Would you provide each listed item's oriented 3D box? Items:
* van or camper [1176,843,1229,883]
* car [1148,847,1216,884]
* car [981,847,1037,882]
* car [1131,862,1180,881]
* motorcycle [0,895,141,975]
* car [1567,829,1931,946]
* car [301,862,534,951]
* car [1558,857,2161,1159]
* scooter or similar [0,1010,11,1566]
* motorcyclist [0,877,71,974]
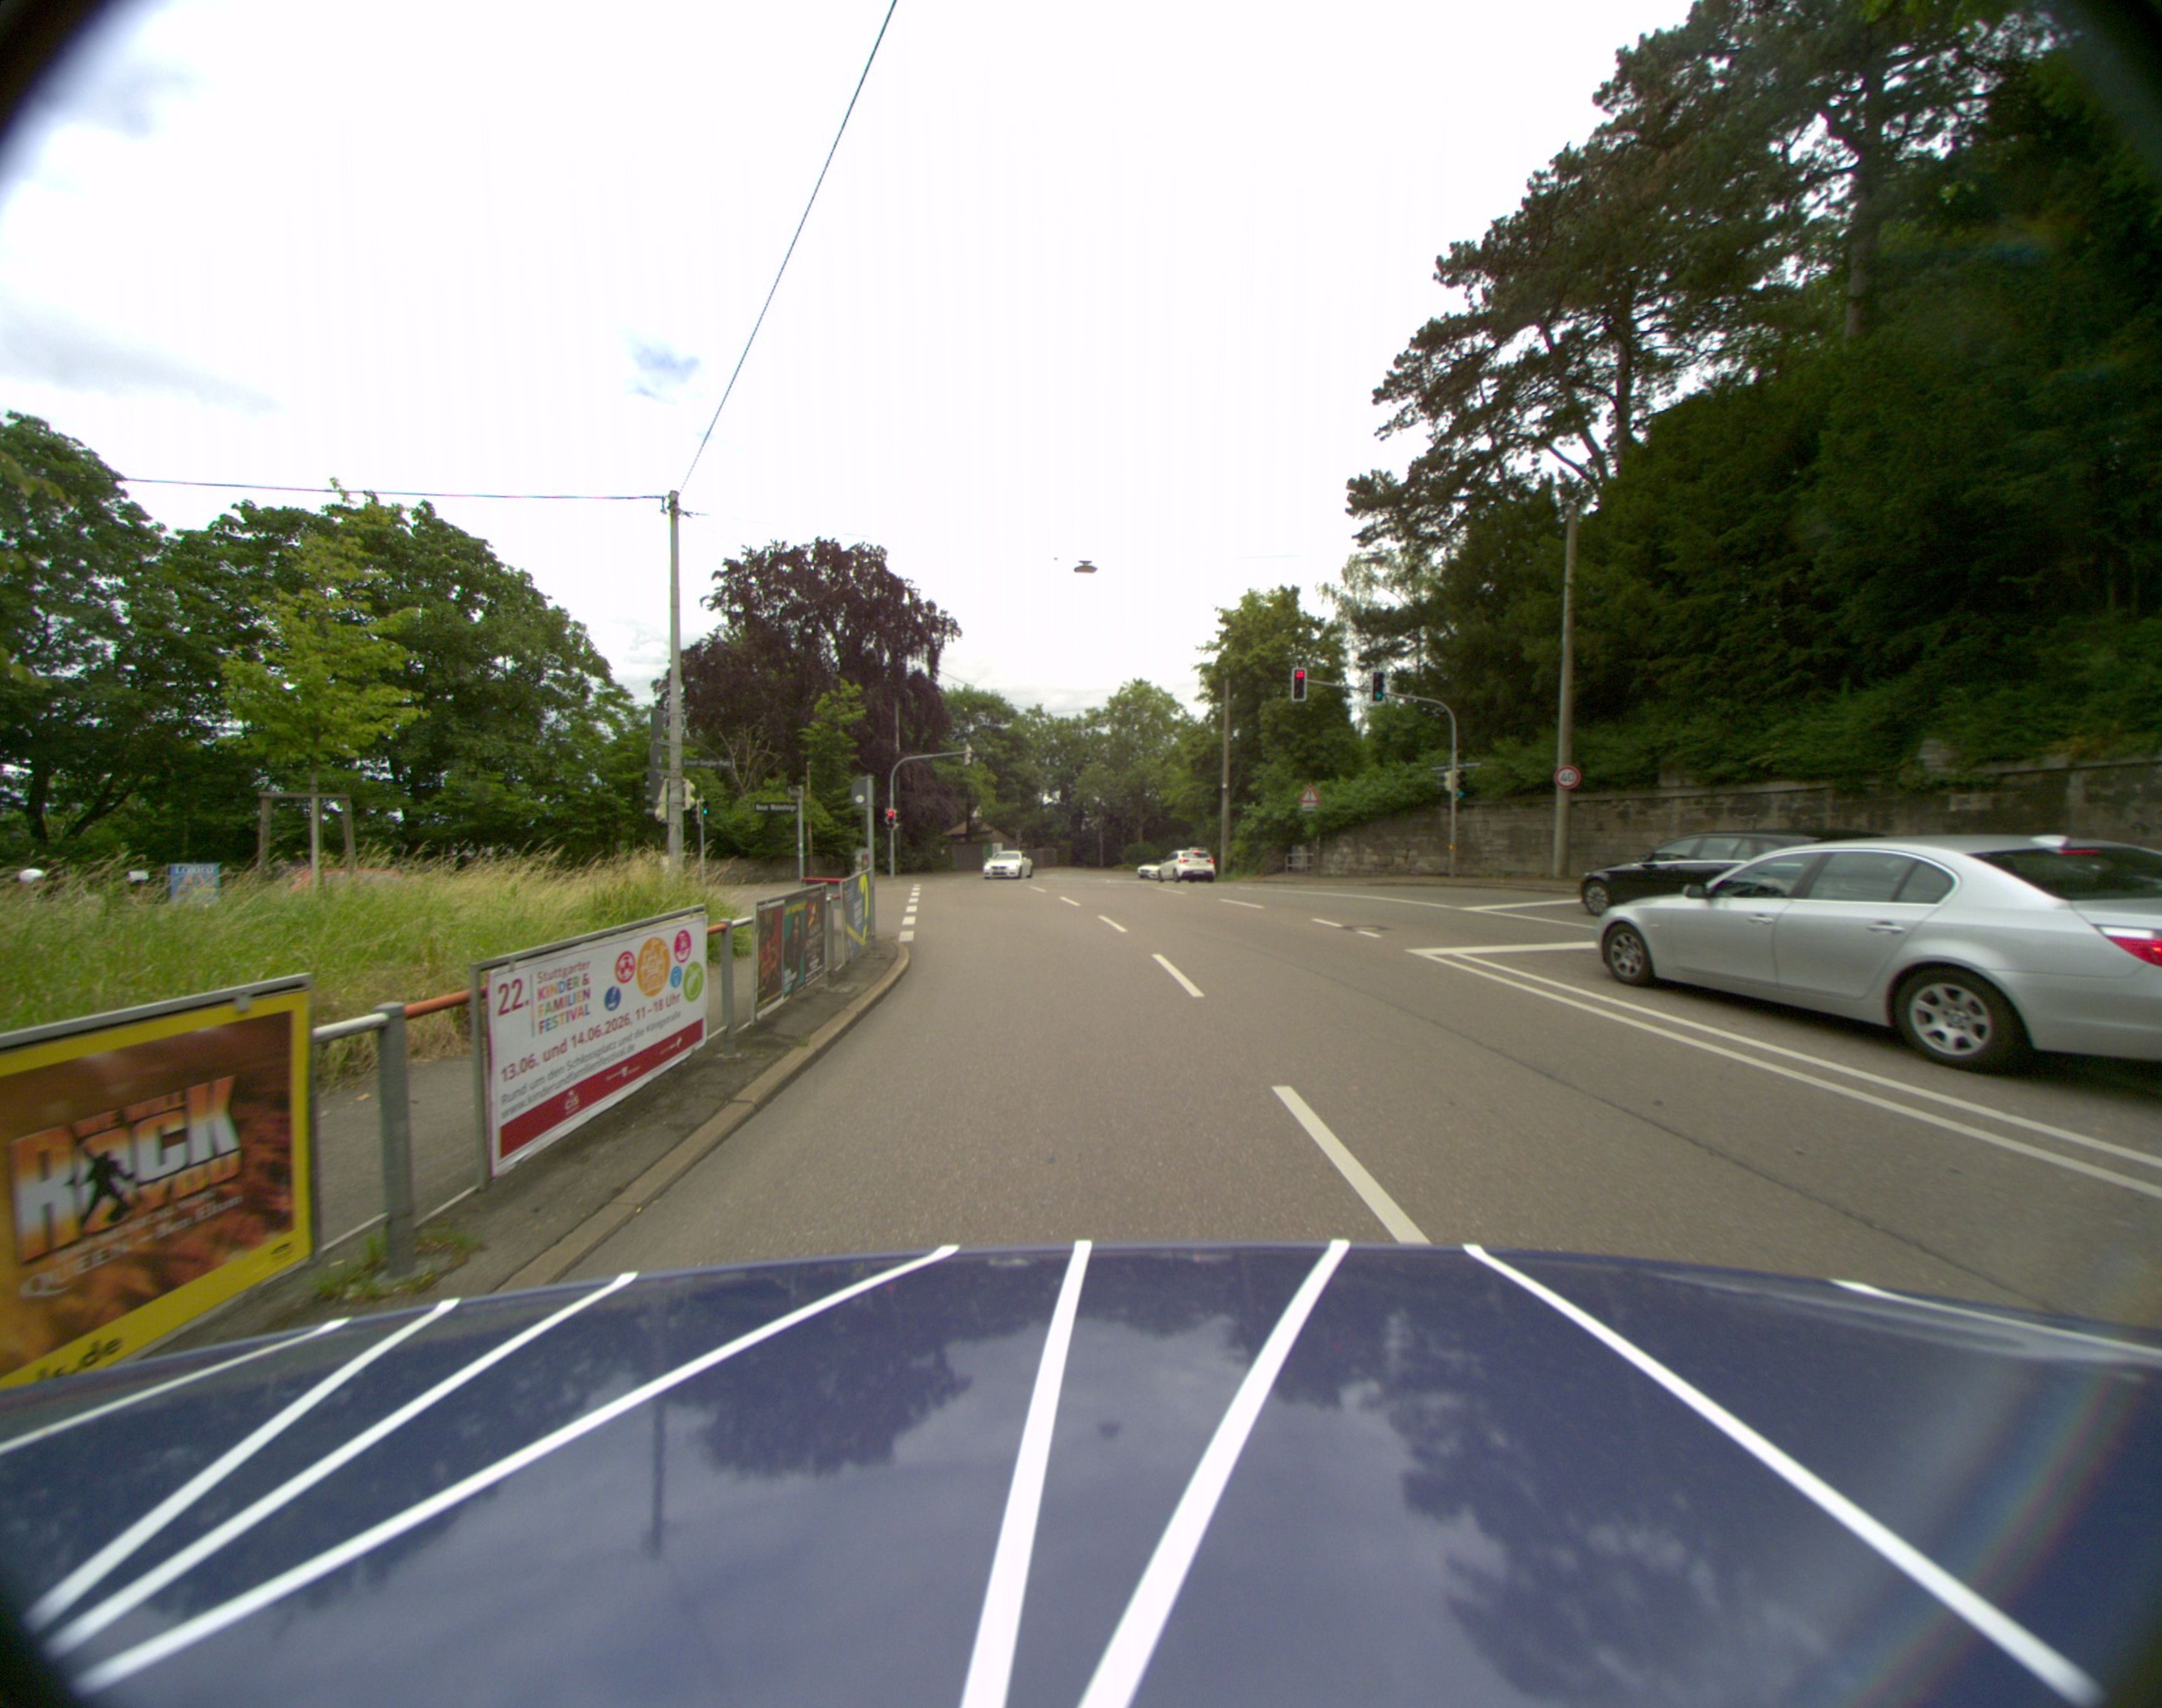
[{"bbox_3d":[8.606,0.681,53.450,2.204,2.530,5.371,0,-3,26],"label":"van or camper"},{"bbox_3d":[4.557,0.493,34.873,1.641,1.547,4.109,-3,1,-13],"label":"car"},{"bbox_3d":[-3.664,0.501,39.612,1.821,1.463,4.785,5,3,7],"label":"car"},{"bbox_3d":[5.504,1.339,55.825,1.966,1.306,3.859,-2,-3,35],"label":"car"},{"bbox_3d":[-18.163,1.411,13.533,0.724,1.226,1.752,1,2,40],"label":"motorcycle"},{"bbox_3d":[9.969,0.448,11.840,1.738,1.443,4.047,-2,0,-10],"label":"car"},{"bbox_3d":[-14.718,1.074,16.999,1.646,1.497,3.706,4,5,43],"label":"car"},{"bbox_3d":[6.307,0.762,6.044,1.998,1.461,4.878,0,0,1],"label":"car"},{"bbox_3d":[-2.773,0.996,1.027,0.517,1.281,1.487,1,0,3],"label":"scooter or similar"},{"bbox_3d":[-18.369,1.229,13.363,0.724,1.595,0.650,1,2,40],"label":"motorcyclist"}]
